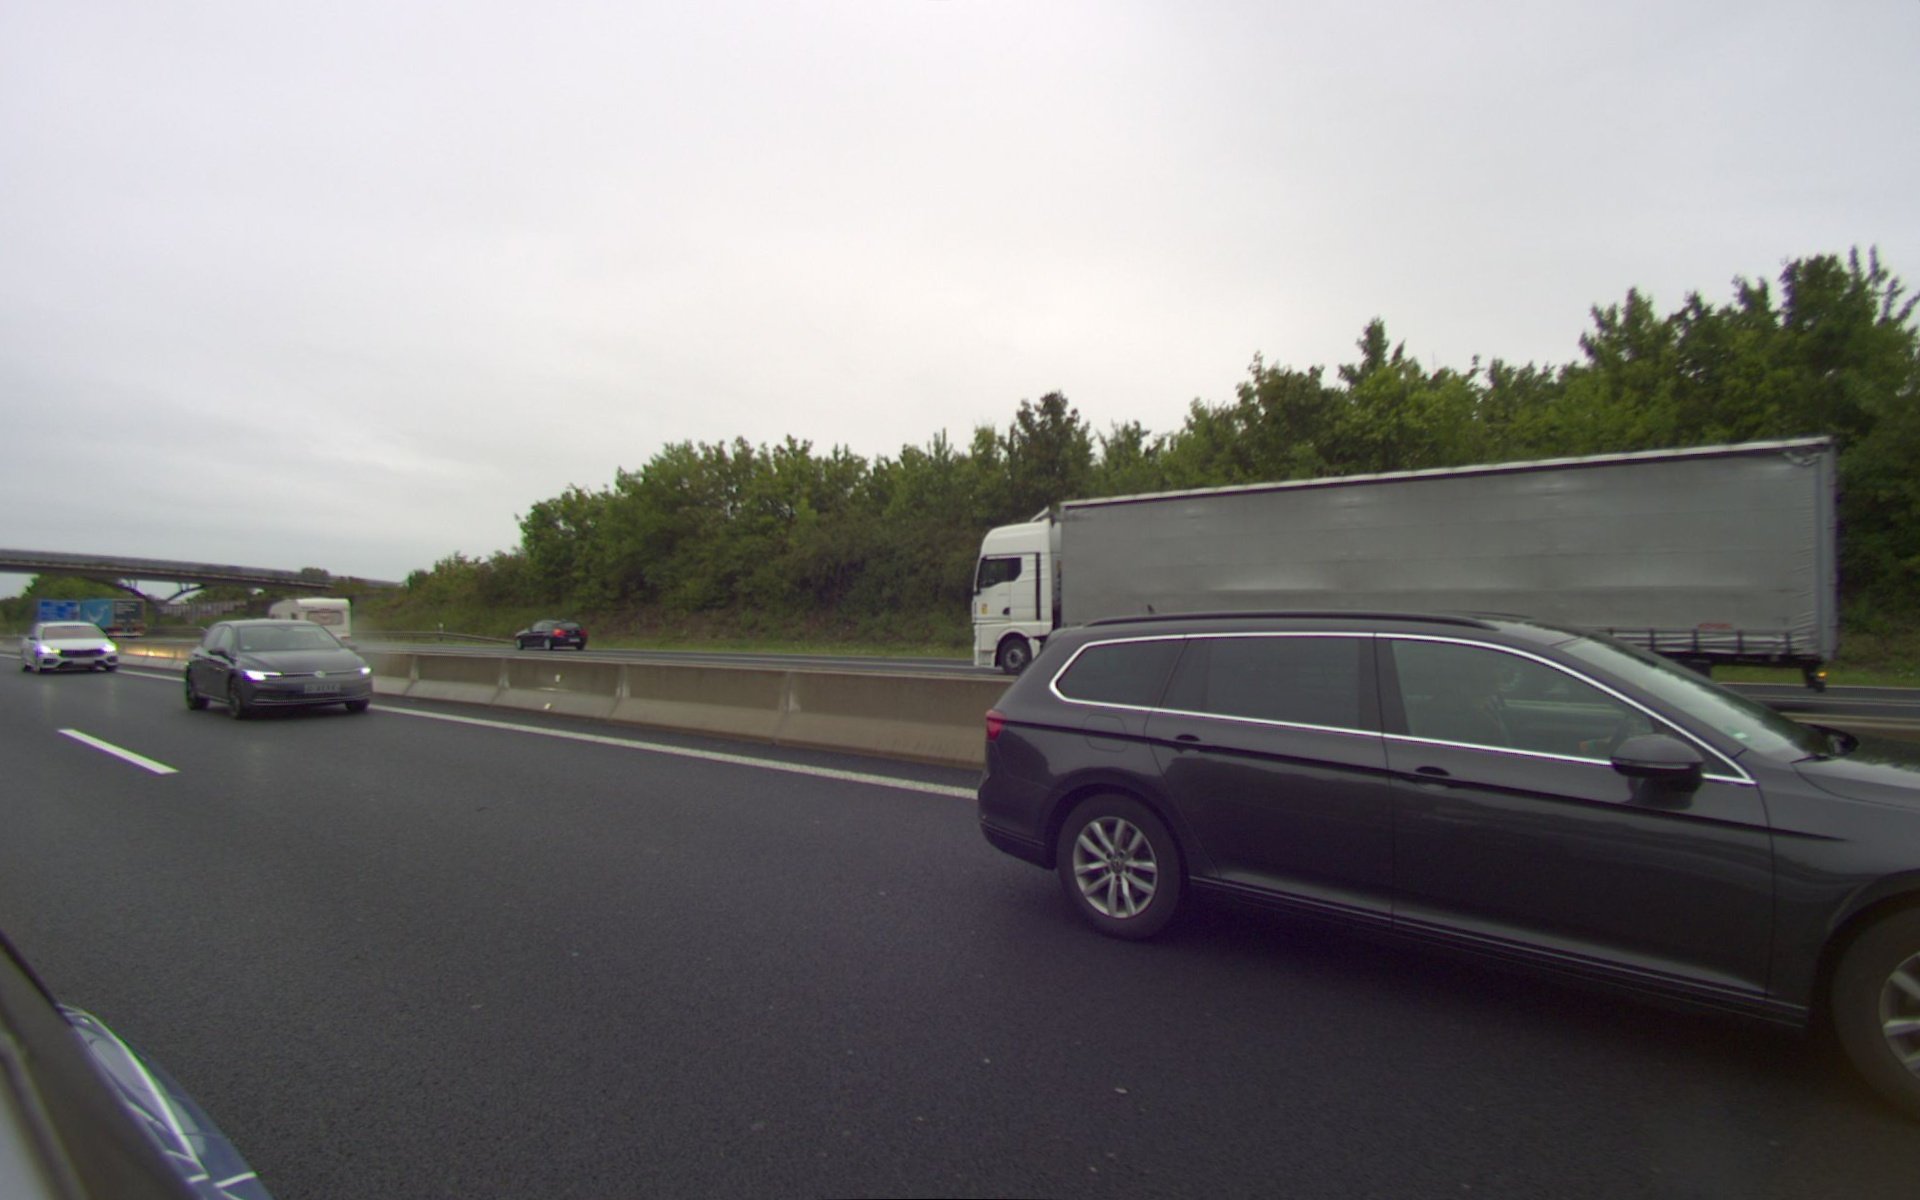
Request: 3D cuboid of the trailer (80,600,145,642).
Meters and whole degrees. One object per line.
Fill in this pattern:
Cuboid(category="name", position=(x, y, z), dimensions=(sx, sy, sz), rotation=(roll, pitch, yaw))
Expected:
Cuboid(category="trailer", position=(-87.555, 2.166, 104.419), dimensions=(13.512, 4.114, 2.762), rotation=(-1, -2, 40))

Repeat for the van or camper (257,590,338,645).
Cuboid(category="van or camper", position=(-31.632, 0.853, 48.240), dimensions=(5.544, 2.488, 1.776), rotation=(-1, -2, 41))

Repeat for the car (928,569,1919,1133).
Cuboid(category="car", position=(2.274, 0.702, 4.232), dimensions=(4.849, 1.508, 1.880), rotation=(-1, -1, 41))

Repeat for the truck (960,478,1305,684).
Cuboid(category="truck", position=(3.844, -0.298, 23.871), dimensions=(7.438, 4.114, 3.225), rotation=(-1, -2, 42))

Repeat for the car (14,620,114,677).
Cuboid(category="car", position=(-26.219, 1.361, 29.569), dimensions=(4.115, 1.518, 1.879), rotation=(-1, -2, 44))

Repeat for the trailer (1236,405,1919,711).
Cuboid(category="trailer", position=(11.741, -0.494, 16.798), dimensions=(13.840, 4.114, 3.225), rotation=(-1, -2, 42))

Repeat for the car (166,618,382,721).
Cuboid(category="car", position=(-11.124, 1.016, 16.290), dimensions=(4.458, 1.416, 1.880), rotation=(-1, -1, 42))

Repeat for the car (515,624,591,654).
Cuboid(category="car", position=(-18.998, 1.791, 47.223), dimensions=(3.920, 1.304, 1.671), rotation=(-1, -1, 40))
